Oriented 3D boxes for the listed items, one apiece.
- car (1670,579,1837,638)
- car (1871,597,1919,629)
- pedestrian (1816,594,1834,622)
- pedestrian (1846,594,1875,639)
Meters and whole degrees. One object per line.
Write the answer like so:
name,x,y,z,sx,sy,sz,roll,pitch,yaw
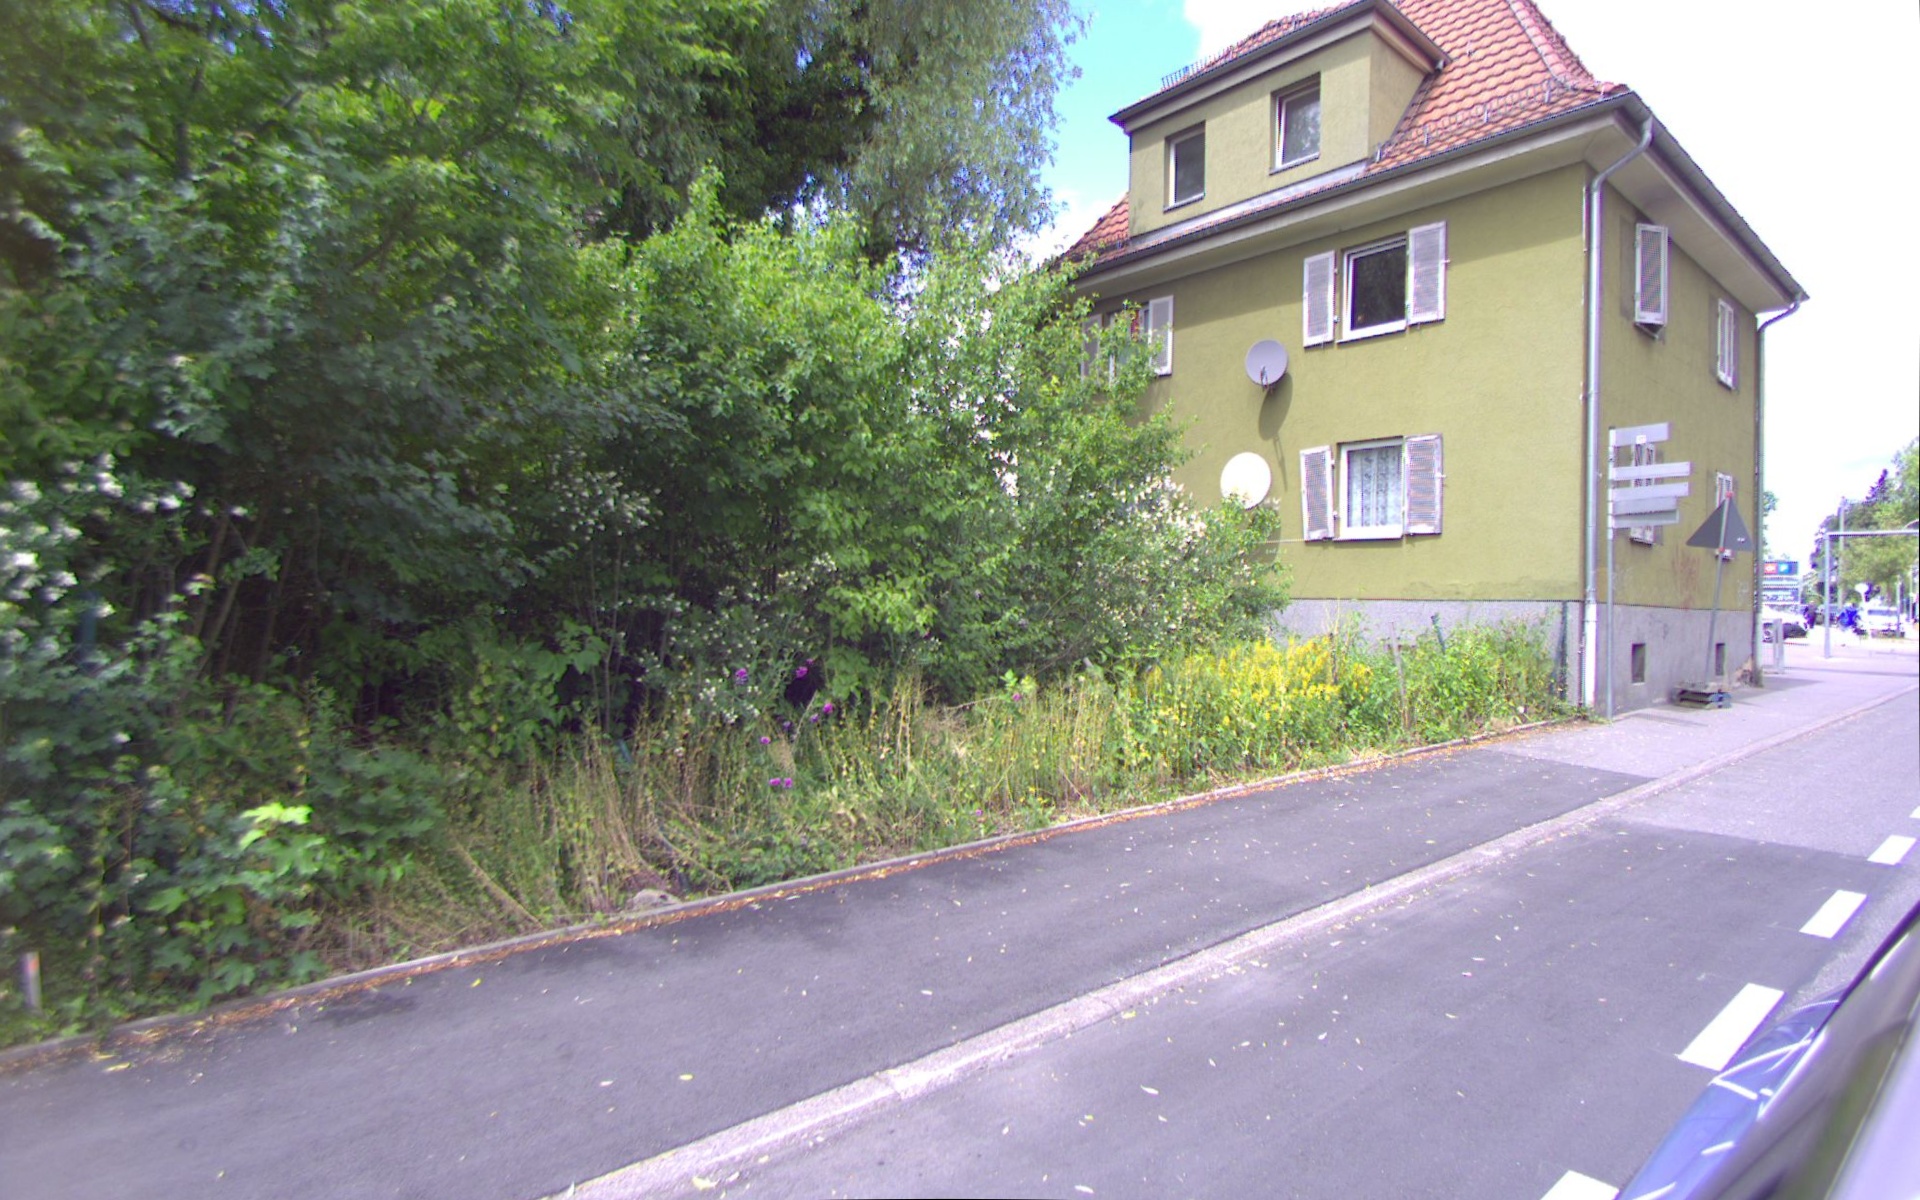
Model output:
car,28.745,0.256,36.801,1.961,2.019,4.374,0,1,-32
car,47.609,0.646,51.225,3.931,1.529,1.797,0,1,-42
pedestrian,52.421,0.468,61.355,0.765,1.683,0.721,1,-3,-45
pedestrian,32.388,0.595,36.411,0.726,1.572,1.042,1,0,39
